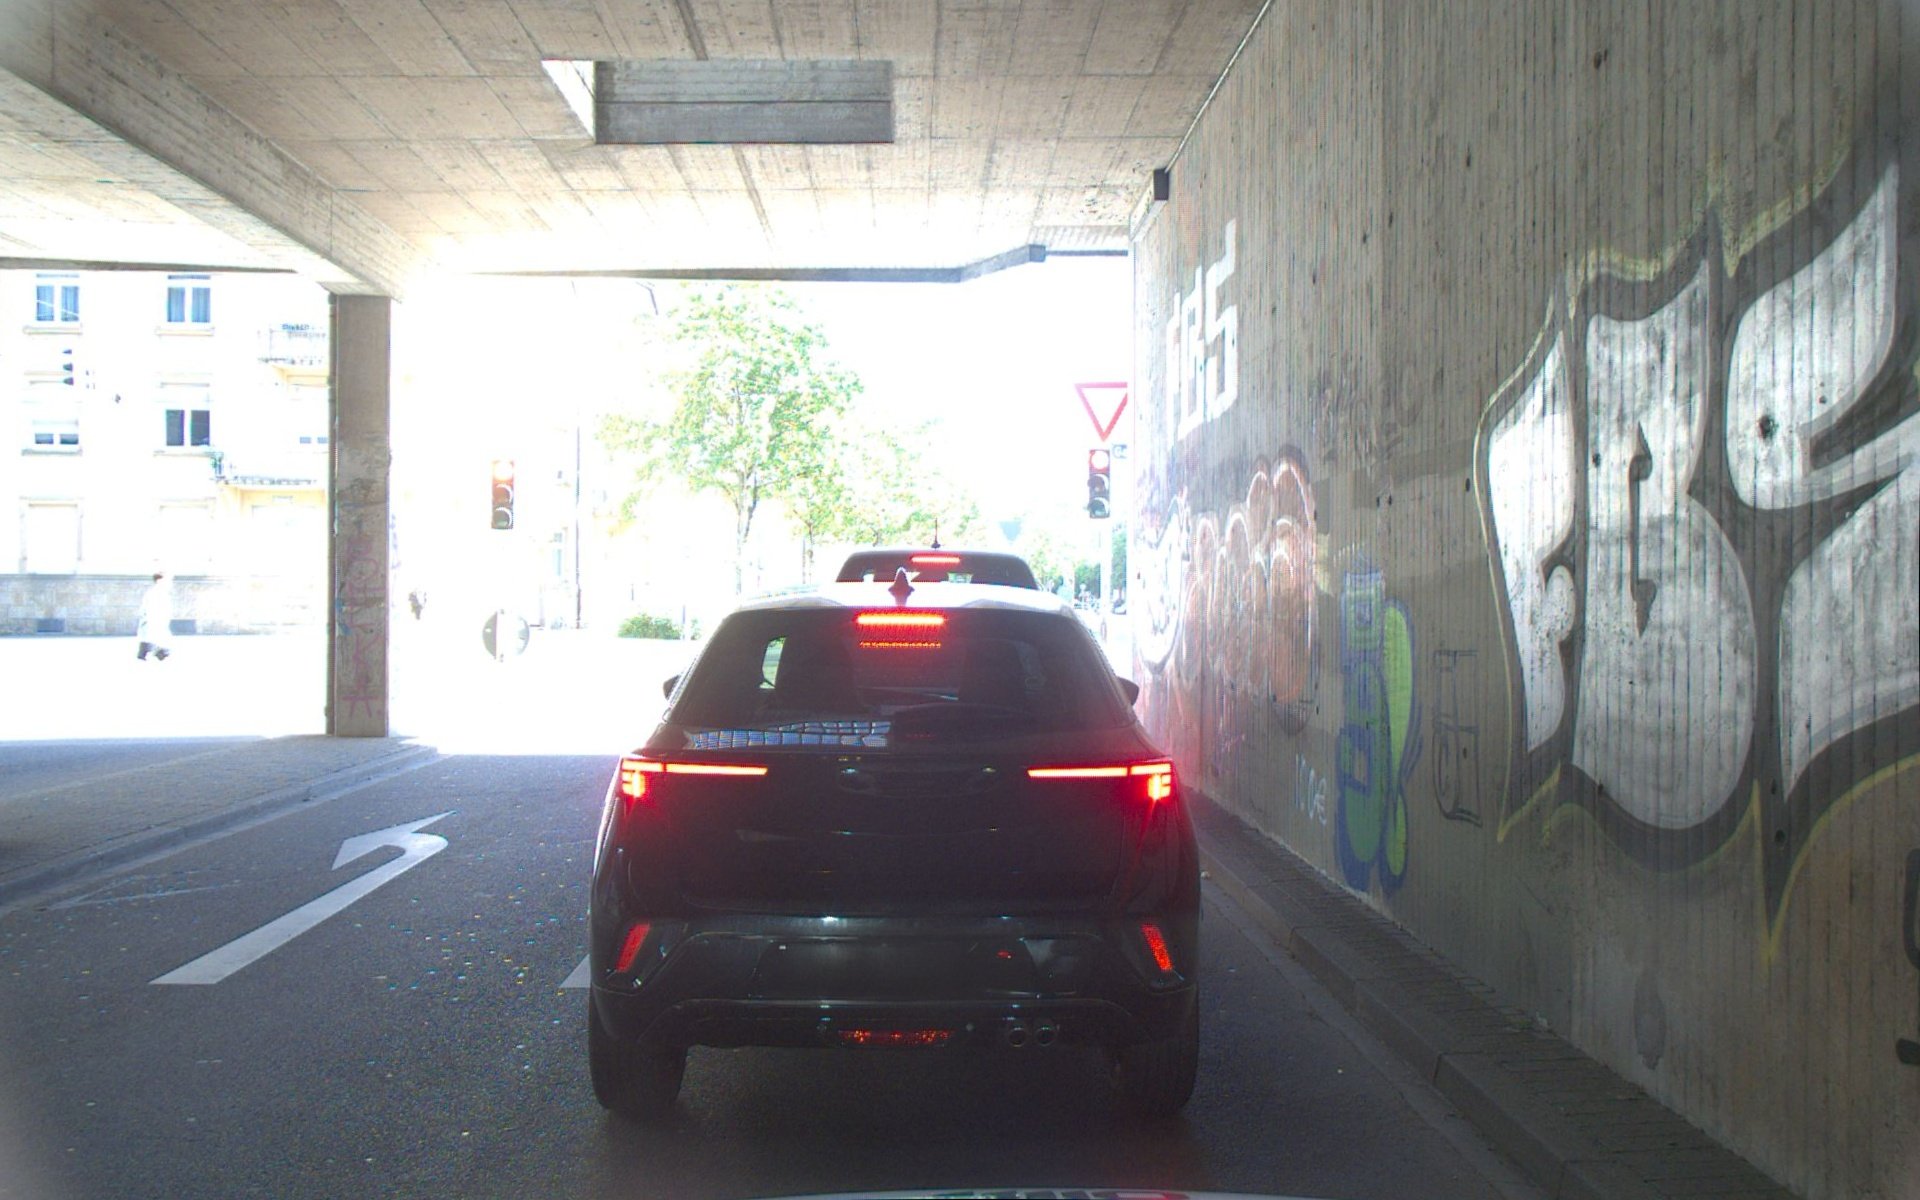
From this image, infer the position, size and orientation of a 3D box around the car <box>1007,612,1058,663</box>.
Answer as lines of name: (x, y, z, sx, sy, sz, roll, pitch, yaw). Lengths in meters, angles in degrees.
car: (3.047, 1.502, 68.448, 1.951, 2.004, 4.166, 1, 0, 4)

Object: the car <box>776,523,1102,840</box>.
car: (-0.153, 0.477, 11.965, 1.953, 1.904, 3.999, 0, 0, -1)

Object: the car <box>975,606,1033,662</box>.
car: (1.699, 1.252, 62.352, 1.951, 2.004, 4.166, 1, 0, 4)

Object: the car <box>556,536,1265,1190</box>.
car: (-0.150, 0.610, 6.094, 1.729, 1.598, 4.000, 1, 1, -1)

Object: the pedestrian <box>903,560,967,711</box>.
pedestrian: (-0.302, 0.418, 19.869, 0.716, 1.764, 0.874, 1, -1, -1)

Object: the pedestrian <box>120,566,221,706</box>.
pedestrian: (-10.377, 0.468, 21.766, 0.910, 1.792, 0.794, 1, -1, 1)

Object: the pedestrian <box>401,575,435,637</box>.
pedestrian: (-14.967, 0.169, 45.689, 0.658, 1.666, 0.740, 1, -1, -1)

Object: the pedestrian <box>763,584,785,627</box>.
pedestrian: (-9.149, 0.273, 81.222, 0.873, 2.124, 0.808, 1, -1, 7)
